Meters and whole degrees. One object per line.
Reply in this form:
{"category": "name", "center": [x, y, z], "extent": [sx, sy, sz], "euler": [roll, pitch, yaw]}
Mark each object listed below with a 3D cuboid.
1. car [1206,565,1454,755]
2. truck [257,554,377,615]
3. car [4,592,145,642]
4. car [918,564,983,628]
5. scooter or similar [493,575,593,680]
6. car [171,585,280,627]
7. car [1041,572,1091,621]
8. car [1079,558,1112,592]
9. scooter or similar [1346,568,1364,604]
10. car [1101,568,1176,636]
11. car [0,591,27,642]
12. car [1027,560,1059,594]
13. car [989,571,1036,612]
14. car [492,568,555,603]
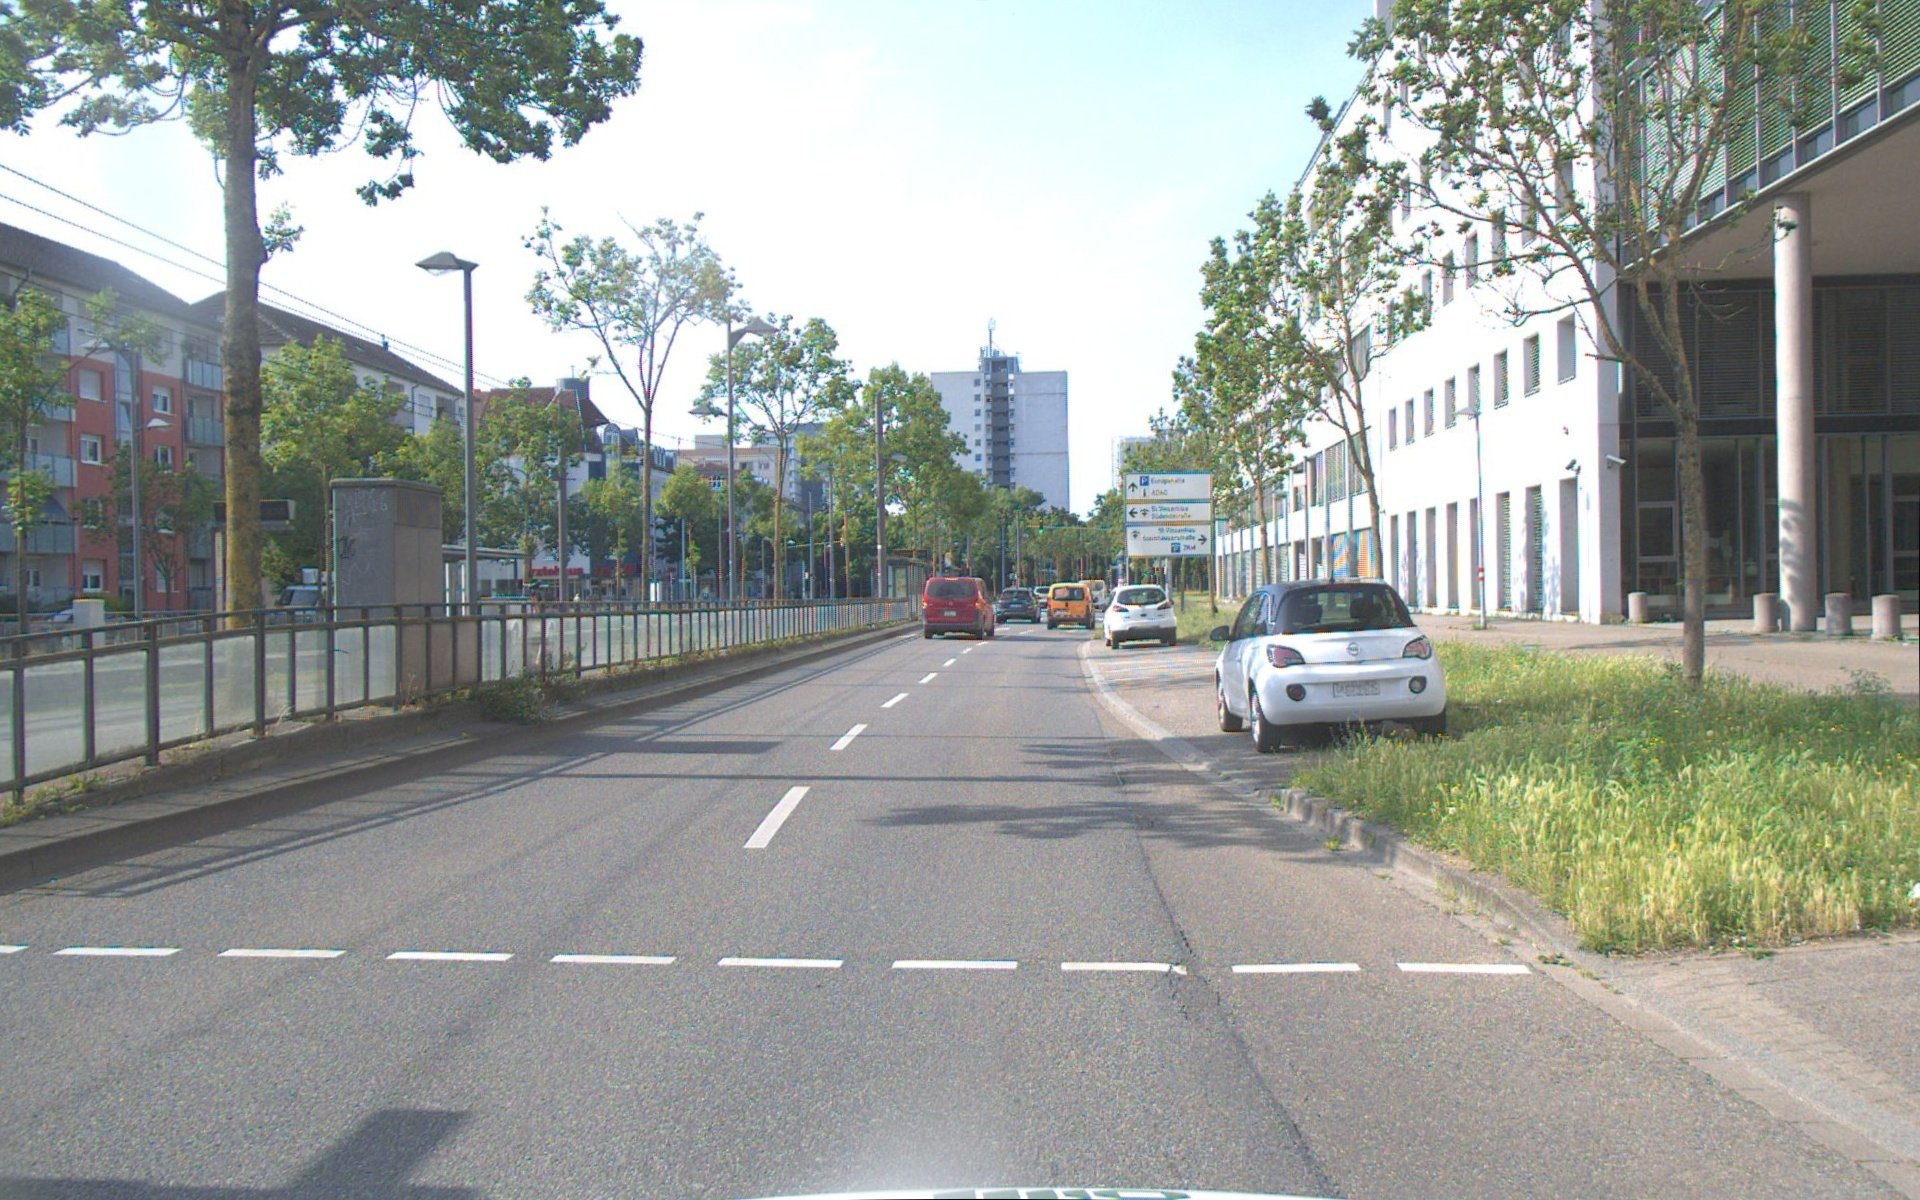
{"category": "car", "center": [3.442, 0.476, 16.021], "extent": [1.684, 1.545, 3.783], "euler": [-1, 2, 2]}
{"category": "truck", "center": [-28.822, -0.728, 74.457], "extent": [2.316, 2.607, 7.244], "euler": [1, 1, 3]}
{"category": "car", "center": [-26.710, 0.489, 50.029], "extent": [1.939, 1.384, 4.071], "euler": [1, 1, 3]}
{"category": "car", "center": [-0.253, -0.159, 51.941], "extent": [1.835, 1.885, 4.002], "euler": [-1, 1, 2]}
{"category": "scooter or similar", "center": [-5.255, 0.332, 20.889], "extent": [0.418, 1.260, 1.259], "euler": [-2, 1, 30]}
{"category": "car", "center": [-26.255, 0.197, 59.283], "extent": [1.939, 1.384, 4.071], "euler": [1, 1, 3]}
{"category": "car", "center": [4.057, -0.162, 63.024], "extent": [1.836, 1.726, 3.976], "euler": [-1, 1, 4]}
{"category": "car", "center": [8.629, -1.609, 105.724], "extent": [1.952, 2.048, 4.002], "euler": [-1, 1, 3]}
{"category": "scooter or similar", "center": [13.760, -0.496, 57.601], "extent": [0.452, 1.234, 1.256], "euler": [-2, 1, 9]}
{"category": "car", "center": [4.485, 0.014, 42.004], "extent": [1.653, 1.552, 3.853], "euler": [-3, 1, 4]}
{"category": "car", "center": [-27.459, 0.474, 44.818], "extent": [1.939, 1.384, 4.071], "euler": [1, 1, 3]}
{"category": "car", "center": [5.222, -1.464, 104.934], "extent": [1.952, 2.048, 4.002], "euler": [-1, 1, 2]}
{"category": "car", "center": [2.376, -0.414, 73.733], "extent": [1.952, 1.735, 4.002], "euler": [-1, 1, 3]}
{"category": "car", "center": [-27.529, -0.924, 104.520], "extent": [2.316, 2.066, 5.314], "euler": [-1, 1, 3]}
